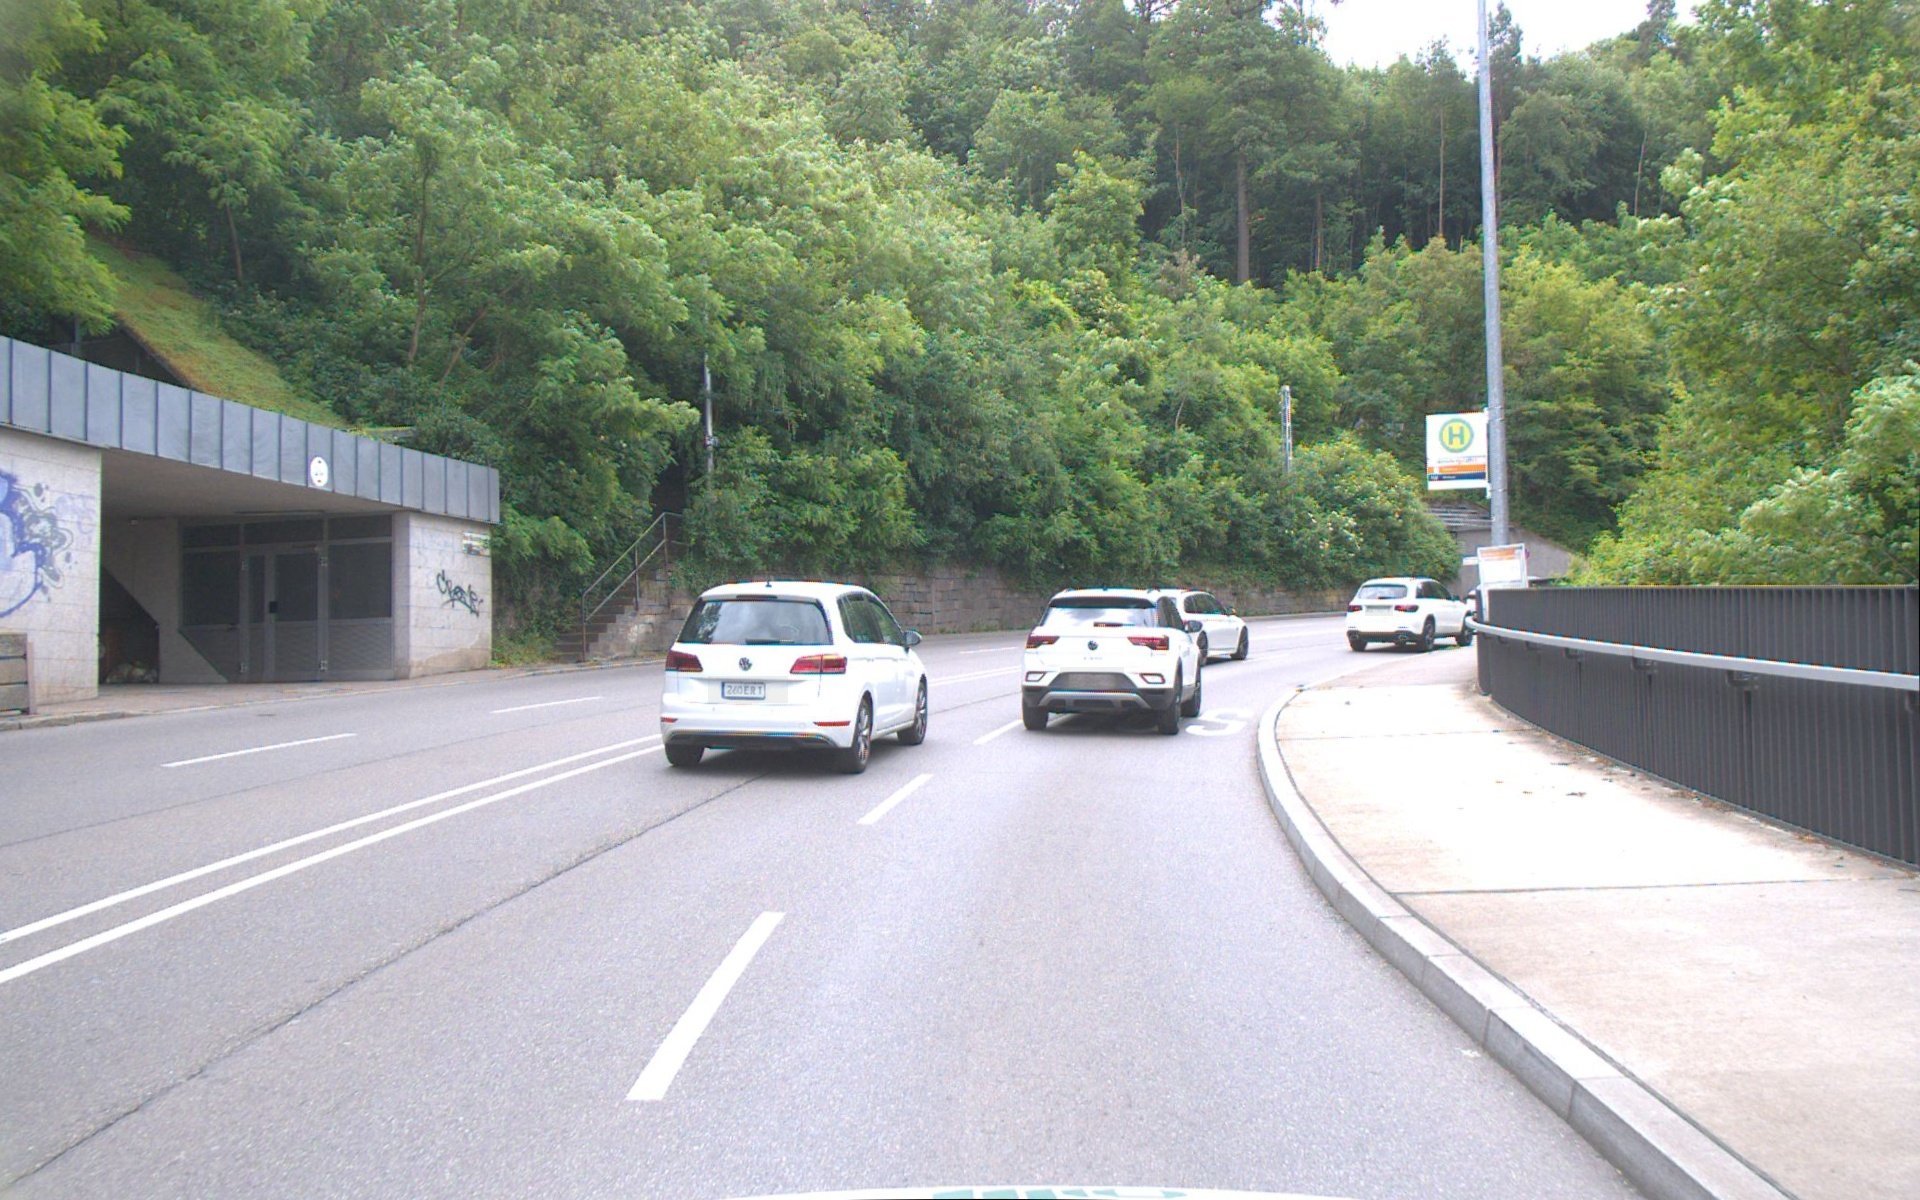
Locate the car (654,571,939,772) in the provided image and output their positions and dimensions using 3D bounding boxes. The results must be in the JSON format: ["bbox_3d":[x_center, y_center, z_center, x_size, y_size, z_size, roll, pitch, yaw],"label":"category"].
[{"bbox_3d":[-1.342,0.555,15.322,1.683,1.581,4.279,1,0,8],"label":"car"}]

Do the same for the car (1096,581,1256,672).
[{"bbox_3d":[4.452,0.469,33.406,1.954,1.584,4.679,3,2,23],"label":"car"}]

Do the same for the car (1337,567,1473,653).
[{"bbox_3d":[10.492,0.251,38.784,1.957,1.875,4.140,2,0,32],"label":"car"}]

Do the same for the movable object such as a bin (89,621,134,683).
[{"bbox_3d":[-14.199,0.866,27.683,0.418,1.014,0.498,2,0,23],"label":"movable object such as a bin"}]

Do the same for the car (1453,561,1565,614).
[{"bbox_3d":[17.455,-0.387,52.494,1.717,1.545,4.279,2,0,43],"label":"car"}]

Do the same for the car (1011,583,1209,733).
[{"bbox_3d":[1.878,0.624,19.530,1.775,1.566,4.012,-1,0,13],"label":"car"}]
